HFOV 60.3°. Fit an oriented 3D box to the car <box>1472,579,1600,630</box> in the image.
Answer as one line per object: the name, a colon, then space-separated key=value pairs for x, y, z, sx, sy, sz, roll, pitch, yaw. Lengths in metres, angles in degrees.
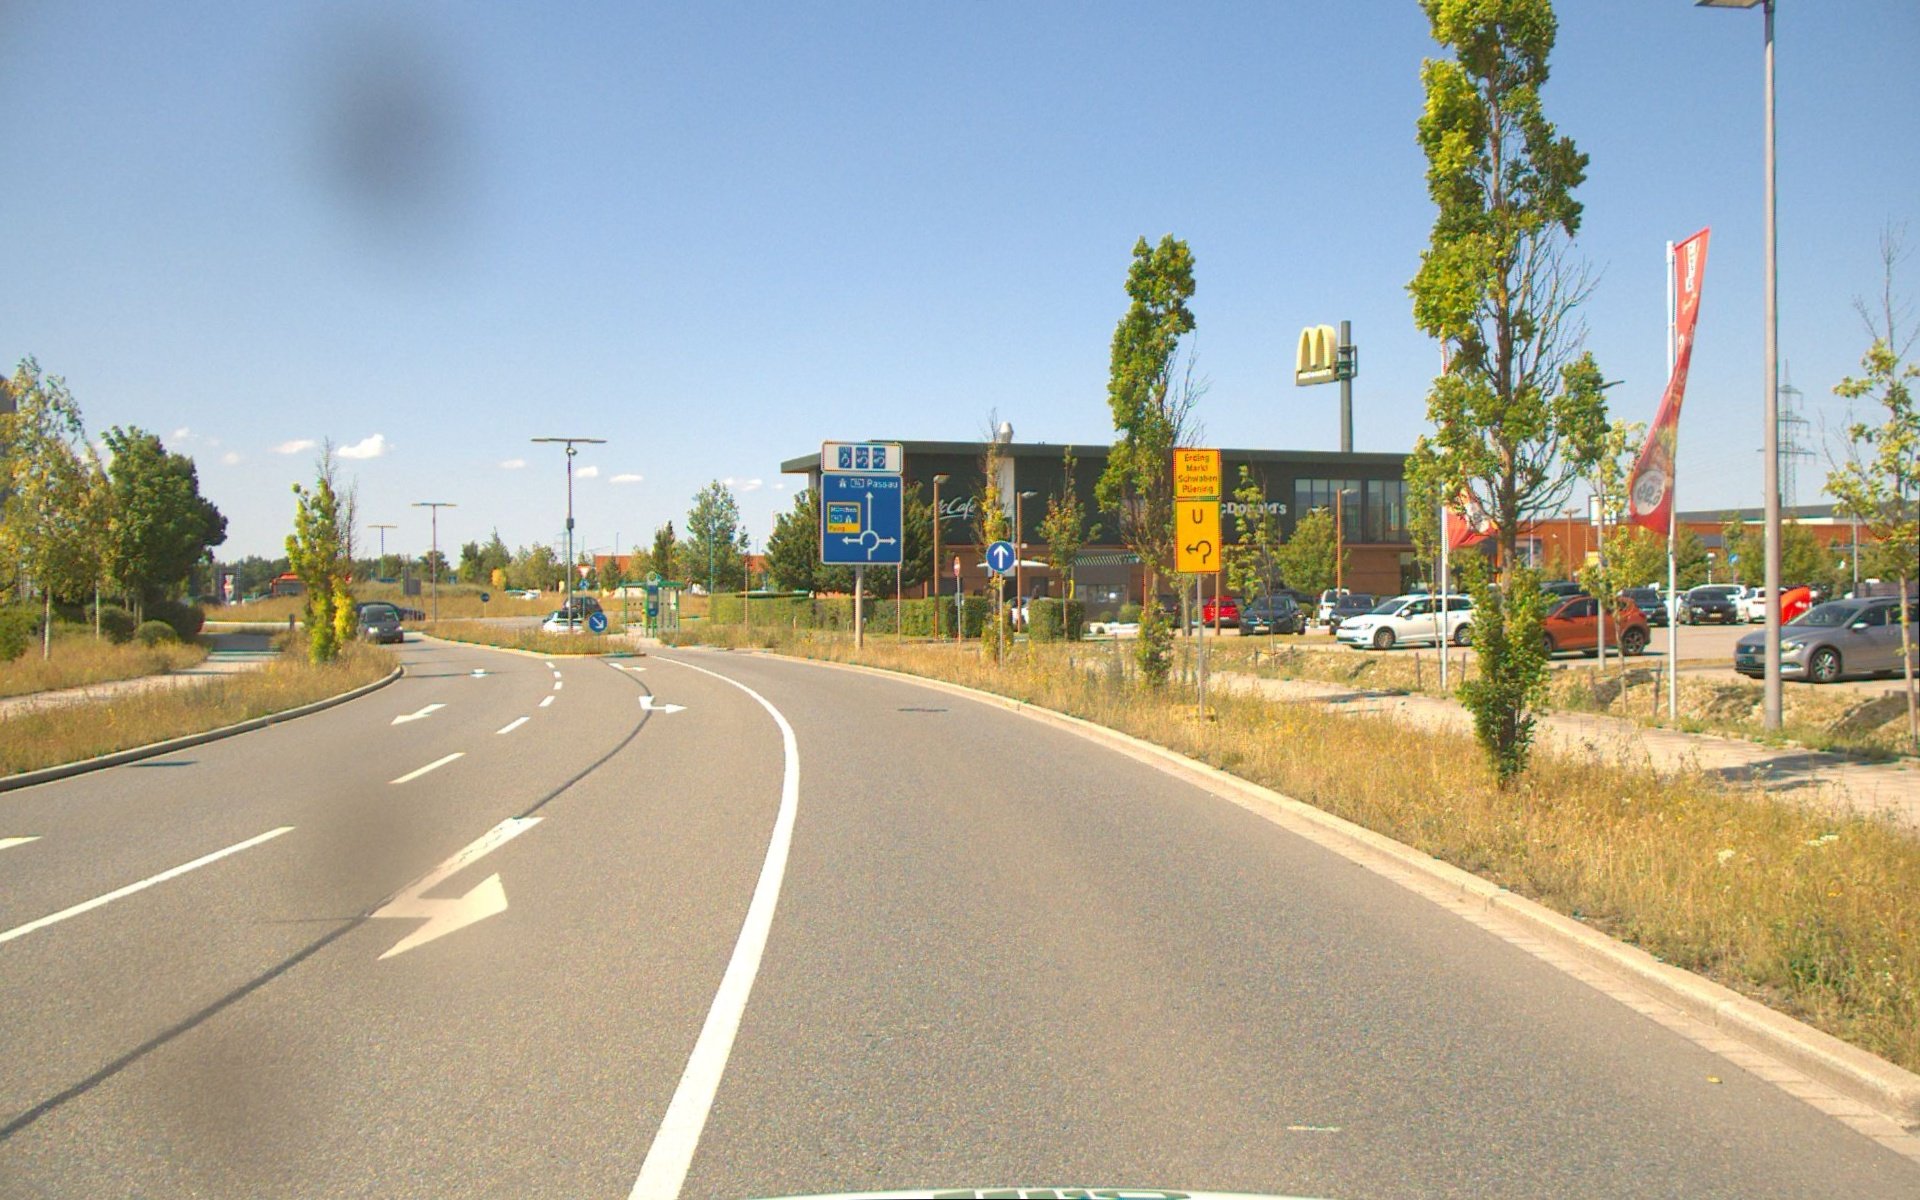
car: x=19.898 y=0.145 z=57.107 sx=4.101 sy=1.664 sz=1.778 roll=-1 pitch=0 yaw=-24

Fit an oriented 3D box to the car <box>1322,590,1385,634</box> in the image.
car: x=14.234 y=0.413 z=59.654 sx=1.748 sy=1.487 sz=4.170 roll=-1 pitch=0 yaw=20

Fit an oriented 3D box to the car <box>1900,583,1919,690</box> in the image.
car: x=17.374 y=0.533 z=26.153 sx=4.076 sy=1.694 sz=1.865 roll=-2 pitch=1 yaw=-9

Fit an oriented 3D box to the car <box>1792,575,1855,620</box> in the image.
car: x=35.792 y=-0.092 z=68.635 sx=1.748 sy=1.788 sz=4.170 roll=-1 pitch=0 yaw=20

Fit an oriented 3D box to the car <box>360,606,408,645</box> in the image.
car: x=-28.563 y=1.237 z=81.962 sx=1.925 sy=1.826 sz=4.395 roll=-2 pitch=1 yaw=-23

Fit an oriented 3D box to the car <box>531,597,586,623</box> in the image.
car: x=-31.944 y=0.784 z=131.773 sx=3.905 sy=2.049 sz=1.834 roll=-1 pitch=0 yaw=0

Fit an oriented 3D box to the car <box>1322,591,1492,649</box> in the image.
car: x=12.908 y=0.548 z=47.824 sx=4.452 sy=1.516 sz=1.861 roll=-1 pitch=1 yaw=-16

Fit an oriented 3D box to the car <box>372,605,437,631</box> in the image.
car: x=-34.110 y=1.099 z=101.680 sx=3.728 sy=1.544 sz=1.764 roll=-1 pitch=0 yaw=-18

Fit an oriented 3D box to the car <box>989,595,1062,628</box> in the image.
car: x=2.951 y=0.521 z=75.200 sx=1.768 sy=1.459 sz=3.972 roll=-1 pitch=0 yaw=-23

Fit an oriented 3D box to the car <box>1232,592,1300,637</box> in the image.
car: x=10.769 y=0.484 z=58.044 sx=1.662 sy=1.487 sz=4.170 roll=-1 pitch=0 yaw=20

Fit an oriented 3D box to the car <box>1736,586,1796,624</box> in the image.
car: x=33.079 y=0.187 z=67.990 sx=1.748 sy=1.476 sz=4.170 roll=-1 pitch=0 yaw=20

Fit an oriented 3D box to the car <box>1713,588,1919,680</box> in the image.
car: x=16.589 y=0.593 z=30.764 sx=4.476 sy=1.516 sz=1.863 roll=-2 pitch=1 yaw=-12

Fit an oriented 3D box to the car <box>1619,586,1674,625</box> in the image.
car: x=26.884 y=0.207 z=64.851 sx=1.748 sy=1.476 sz=4.170 roll=-1 pitch=0 yaw=20

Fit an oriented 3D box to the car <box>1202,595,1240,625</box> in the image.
car: x=13.094 y=0.496 z=83.064 sx=1.754 sy=1.459 sz=4.003 roll=-1 pitch=0 yaw=8

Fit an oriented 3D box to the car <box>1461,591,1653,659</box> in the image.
car: x=14.596 y=0.581 z=40.483 sx=4.136 sy=1.516 sz=1.861 roll=-1 pitch=1 yaw=-16

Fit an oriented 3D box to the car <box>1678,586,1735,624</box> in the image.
car: x=30.063 y=0.197 z=66.700 sx=1.748 sy=1.476 sz=4.170 roll=-1 pitch=0 yaw=20

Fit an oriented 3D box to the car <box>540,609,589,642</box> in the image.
car: x=-18.237 y=1.147 z=76.120 sx=1.595 sy=1.459 sz=3.765 roll=0 pitch=0 yaw=-23

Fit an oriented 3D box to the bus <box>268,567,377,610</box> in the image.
bus: x=-52.925 y=-1.031 z=137.800 sx=2.727 sy=3.132 sz=12.215 roll=-1 pitch=2 yaw=8

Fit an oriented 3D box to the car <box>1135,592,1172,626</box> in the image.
car: x=9.621 y=0.436 z=82.127 sx=1.754 sy=1.632 sz=4.003 roll=-1 pitch=0 yaw=8

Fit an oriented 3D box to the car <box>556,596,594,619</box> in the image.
car: x=-24.838 y=0.491 z=106.719 sx=1.583 sy=1.459 sz=3.792 roll=-1 pitch=0 yaw=-1

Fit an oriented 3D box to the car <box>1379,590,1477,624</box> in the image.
car: x=20.311 y=0.312 z=71.770 sx=3.906 sy=1.397 sz=1.798 roll=-1 pitch=0 yaw=23

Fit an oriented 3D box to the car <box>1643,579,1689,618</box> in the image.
car: x=33.331 y=-0.081 z=78.182 sx=1.748 sy=1.788 sz=4.170 roll=-1 pitch=0 yaw=20

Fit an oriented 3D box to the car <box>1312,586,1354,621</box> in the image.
car: x=19.409 y=0.158 z=85.947 sx=1.755 sy=1.731 sz=4.002 roll=-1 pitch=0 yaw=18

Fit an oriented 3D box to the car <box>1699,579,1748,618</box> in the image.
car: x=36.706 y=-0.088 z=79.621 sx=1.748 sy=1.788 sz=4.170 roll=-1 pitch=0 yaw=20
